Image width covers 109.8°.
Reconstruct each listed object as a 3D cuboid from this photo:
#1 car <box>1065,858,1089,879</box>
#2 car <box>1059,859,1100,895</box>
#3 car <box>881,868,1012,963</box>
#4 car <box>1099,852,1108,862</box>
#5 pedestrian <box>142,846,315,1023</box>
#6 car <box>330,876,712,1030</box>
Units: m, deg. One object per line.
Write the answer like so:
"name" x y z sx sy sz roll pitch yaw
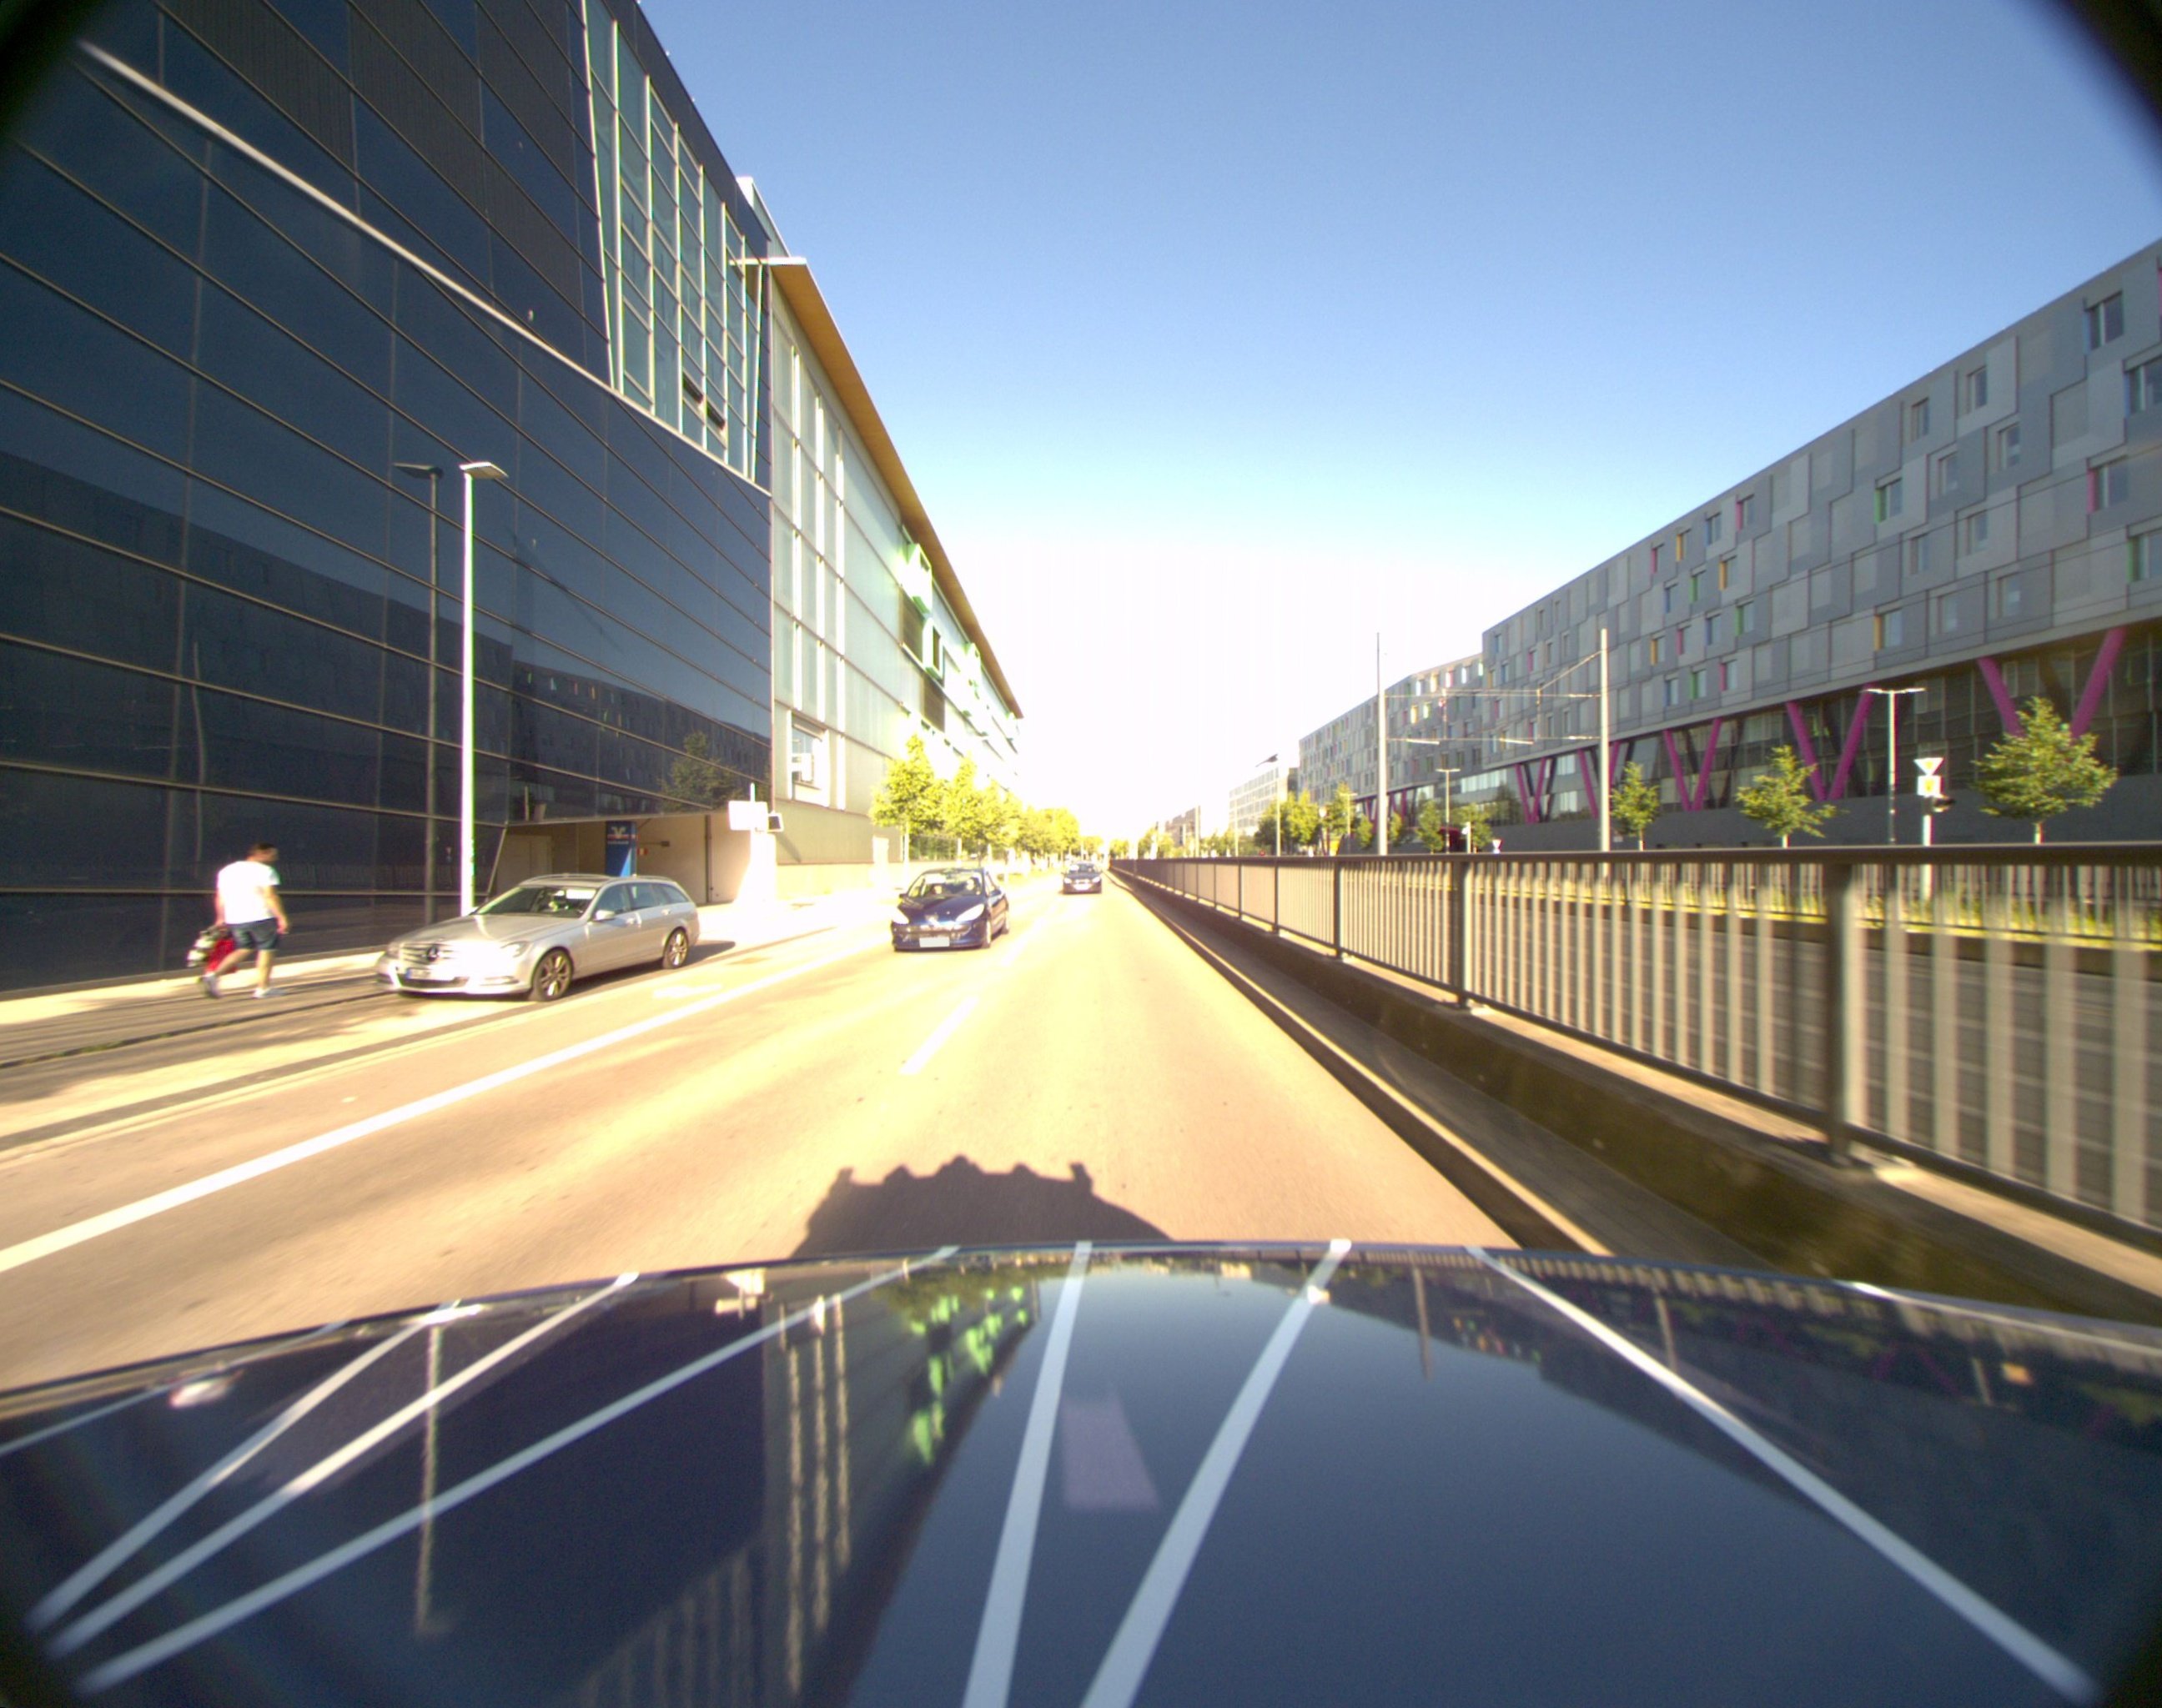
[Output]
"car" -0.254 1.117 58.435 1.753 1.469 3.418 -2 0 1
"car" -0.030 1.017 35.685 1.787 1.499 4.590 -2 0 1
"car" -2.449 1.079 14.775 1.753 1.469 3.972 -2 0 1
"car" 5.170 0.636 172.760 1.998 2.002 4.000 -2 1 1
"pedestrian" -9.381 0.844 8.405 0.828 1.814 0.905 3 0 1
"car" -7.165 1.128 10.513 1.740 1.489 4.715 1 0 1
